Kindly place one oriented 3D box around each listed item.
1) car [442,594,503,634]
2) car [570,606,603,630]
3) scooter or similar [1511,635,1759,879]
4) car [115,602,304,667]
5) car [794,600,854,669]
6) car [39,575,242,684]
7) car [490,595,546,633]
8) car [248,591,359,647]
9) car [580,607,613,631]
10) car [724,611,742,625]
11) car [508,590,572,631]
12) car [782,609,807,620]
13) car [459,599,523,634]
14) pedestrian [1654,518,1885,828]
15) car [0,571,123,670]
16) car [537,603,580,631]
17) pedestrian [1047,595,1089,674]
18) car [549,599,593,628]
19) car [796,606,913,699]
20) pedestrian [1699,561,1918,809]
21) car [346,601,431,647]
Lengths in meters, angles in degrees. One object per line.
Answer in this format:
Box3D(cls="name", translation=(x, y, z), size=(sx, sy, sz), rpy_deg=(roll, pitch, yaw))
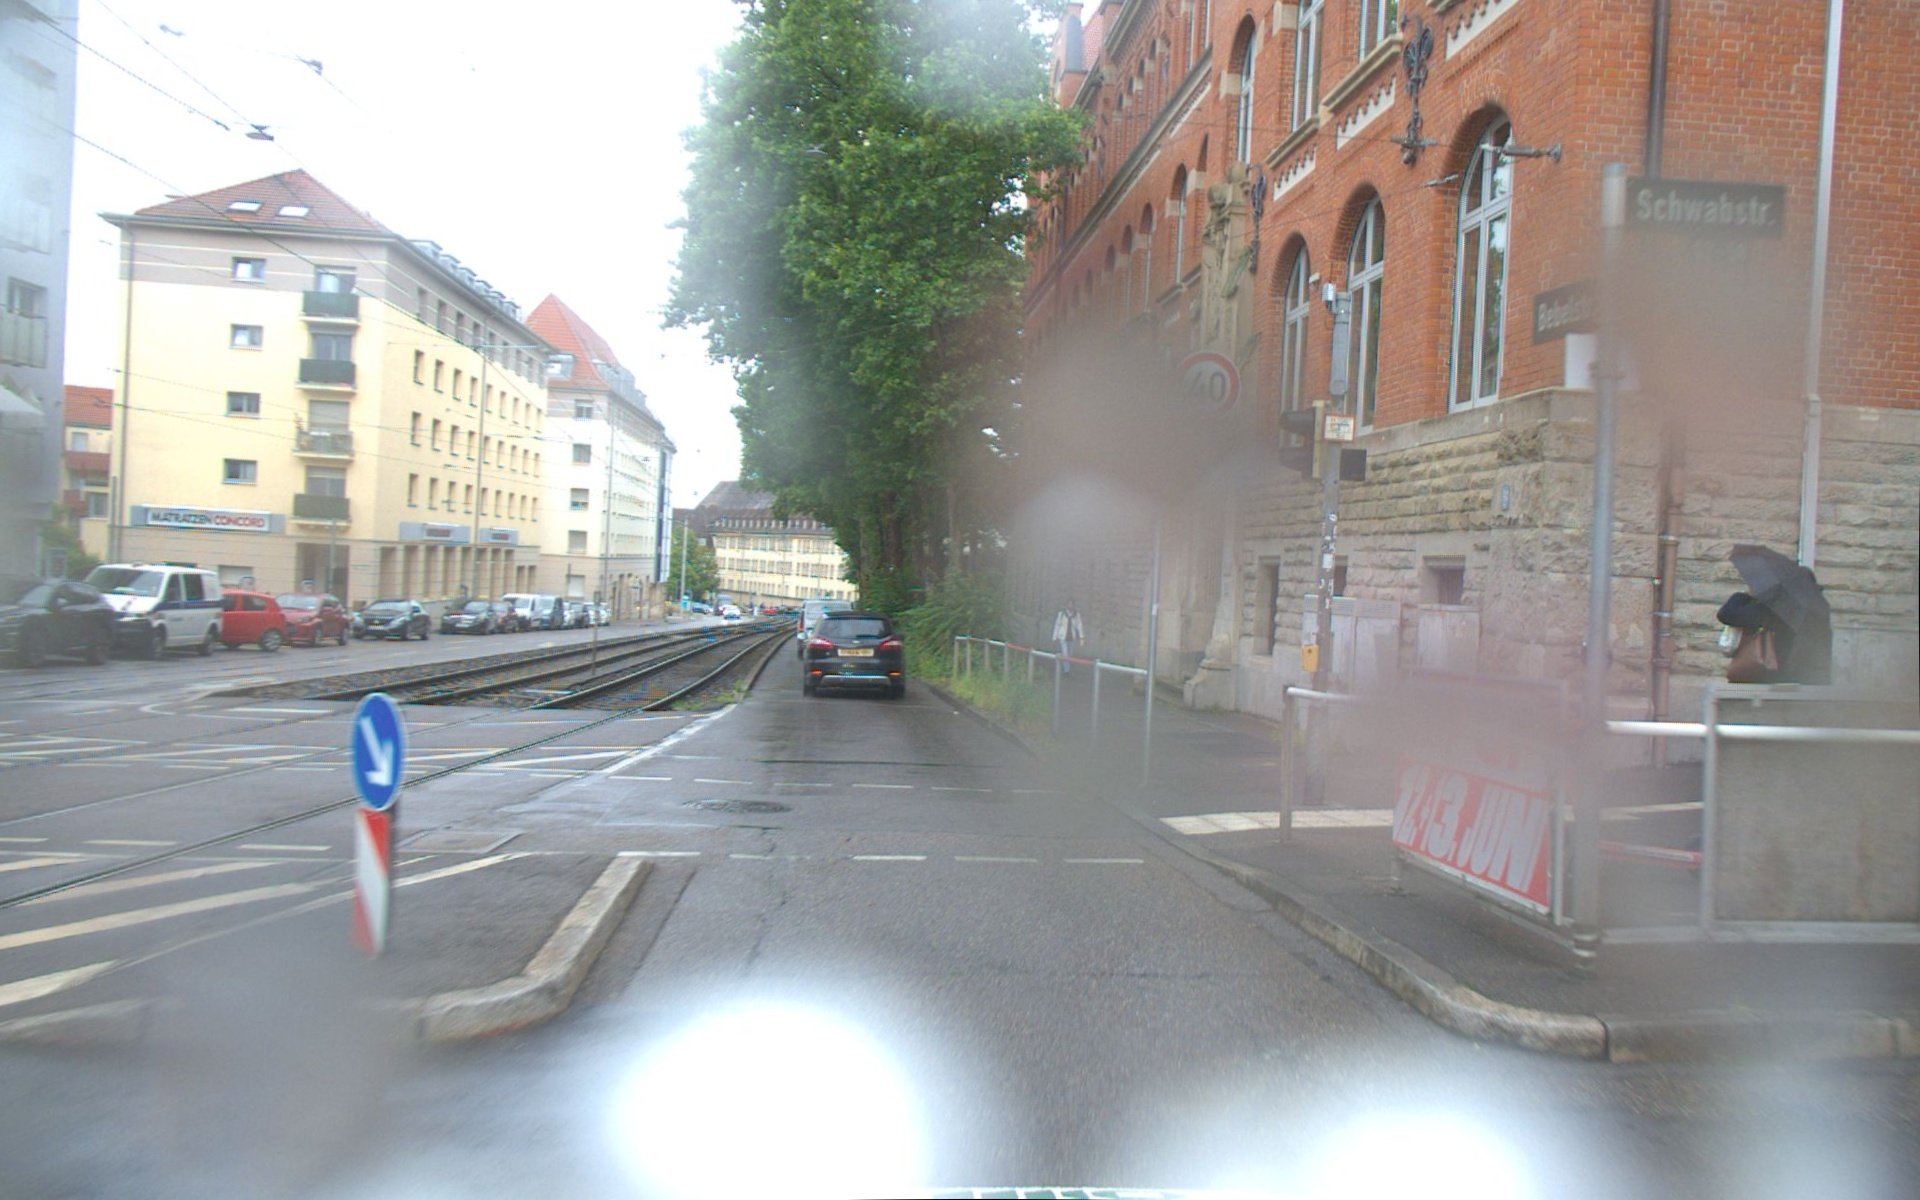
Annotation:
Box3D(cls="car", translation=(-20.466, 0.594, 69.575), size=(1.817, 1.534, 4.979), rpy_deg=(2, -1, -10))
Box3D(cls="car", translation=(-23.752, 1.162, 105.257), size=(1.672, 1.421, 3.928), rpy_deg=(3, -1, -8))
Box3D(cls="scooter or similar", translation=(3.741, 0.842, 9.251), size=(1.220, 1.272, 0.638), rpy_deg=(1, -1, 17))
Box3D(cls="car", translation=(-18.605, 0.894, 41.166), size=(1.746, 1.459, 3.975), rpy_deg=(2, -1, 29))
Box3D(cls="car", translation=(-4.354, 1.098, 52.531), size=(1.707, 2.049, 3.898), rpy_deg=(2, -1, -6))
Box3D(cls="car", translation=(-17.903, 0.611, 36.468), size=(2.030, 2.044, 5.296), rpy_deg=(5, -1, -5))
Box3D(cls="car", translation=(-21.722, 0.705, 81.438), size=(1.830, 1.747, 4.456), rpy_deg=(2, -1, -4))
Box3D(cls="car", translation=(-18.677, 0.559, 47.234), size=(1.620, 1.477, 4.071), rpy_deg=(2, -1, -2))
Box3D(cls="car", translation=(-24.105, 1.253, 109.781), size=(1.676, 1.475, 3.536), rpy_deg=(4, -1, -7))
Box3D(cls="car", translation=(-25.568, 2.014, 186.021), size=(1.678, 1.488, 4.277), rpy_deg=(2, -1, -4))
Box3D(cls="car", translation=(-22.062, 0.560, 87.094), size=(1.953, 1.938, 5.457), rpy_deg=(4, -1, -1))
Box3D(cls="car", translation=(-25.029, 2.156, 250.569), size=(1.980, 1.569, 3.945), rpy_deg=(3, -1, -38))
Box3D(cls="car", translation=(-21.357, 0.770, 75.507), size=(1.815, 1.457, 4.827), rpy_deg=(4, -1, -4))
Box3D(cls="pedestrian", translation=(5.277, 0.463, 10.846), size=(0.939, 1.920, 1.072), rpy_deg=(1, -1, -5))
Box3D(cls="car", translation=(-17.221, 0.341, 30.406), size=(1.699, 1.680, 4.358), rpy_deg=(3, -1, -5))
Box3D(cls="car", translation=(-22.334, 0.942, 92.102), size=(1.658, 1.464, 4.045), rpy_deg=(2, -1, -4))
Box3D(cls="pedestrian", translation=(2.405, 0.765, 36.977), size=(0.806, 1.708, 0.859), rpy_deg=(2, -1, -2))
Box3D(cls="car", translation=(-22.709, 0.794, 96.625), size=(1.778, 1.525, 4.577), rpy_deg=(3, -1, -5))
Box3D(cls="car", translation=(-1.993, 0.922, 30.056), size=(1.896, 1.478, 4.312), rpy_deg=(3, -1, -6))
Box3D(cls="pedestrian", translation=(5.928, 0.575, 11.617), size=(0.939, 1.654, 1.072), rpy_deg=(1, -1, -5))
Box3D(cls="car", translation=(-19.368, 0.822, 56.248), size=(1.647, 1.420, 4.616), rpy_deg=(2, -1, -6))
